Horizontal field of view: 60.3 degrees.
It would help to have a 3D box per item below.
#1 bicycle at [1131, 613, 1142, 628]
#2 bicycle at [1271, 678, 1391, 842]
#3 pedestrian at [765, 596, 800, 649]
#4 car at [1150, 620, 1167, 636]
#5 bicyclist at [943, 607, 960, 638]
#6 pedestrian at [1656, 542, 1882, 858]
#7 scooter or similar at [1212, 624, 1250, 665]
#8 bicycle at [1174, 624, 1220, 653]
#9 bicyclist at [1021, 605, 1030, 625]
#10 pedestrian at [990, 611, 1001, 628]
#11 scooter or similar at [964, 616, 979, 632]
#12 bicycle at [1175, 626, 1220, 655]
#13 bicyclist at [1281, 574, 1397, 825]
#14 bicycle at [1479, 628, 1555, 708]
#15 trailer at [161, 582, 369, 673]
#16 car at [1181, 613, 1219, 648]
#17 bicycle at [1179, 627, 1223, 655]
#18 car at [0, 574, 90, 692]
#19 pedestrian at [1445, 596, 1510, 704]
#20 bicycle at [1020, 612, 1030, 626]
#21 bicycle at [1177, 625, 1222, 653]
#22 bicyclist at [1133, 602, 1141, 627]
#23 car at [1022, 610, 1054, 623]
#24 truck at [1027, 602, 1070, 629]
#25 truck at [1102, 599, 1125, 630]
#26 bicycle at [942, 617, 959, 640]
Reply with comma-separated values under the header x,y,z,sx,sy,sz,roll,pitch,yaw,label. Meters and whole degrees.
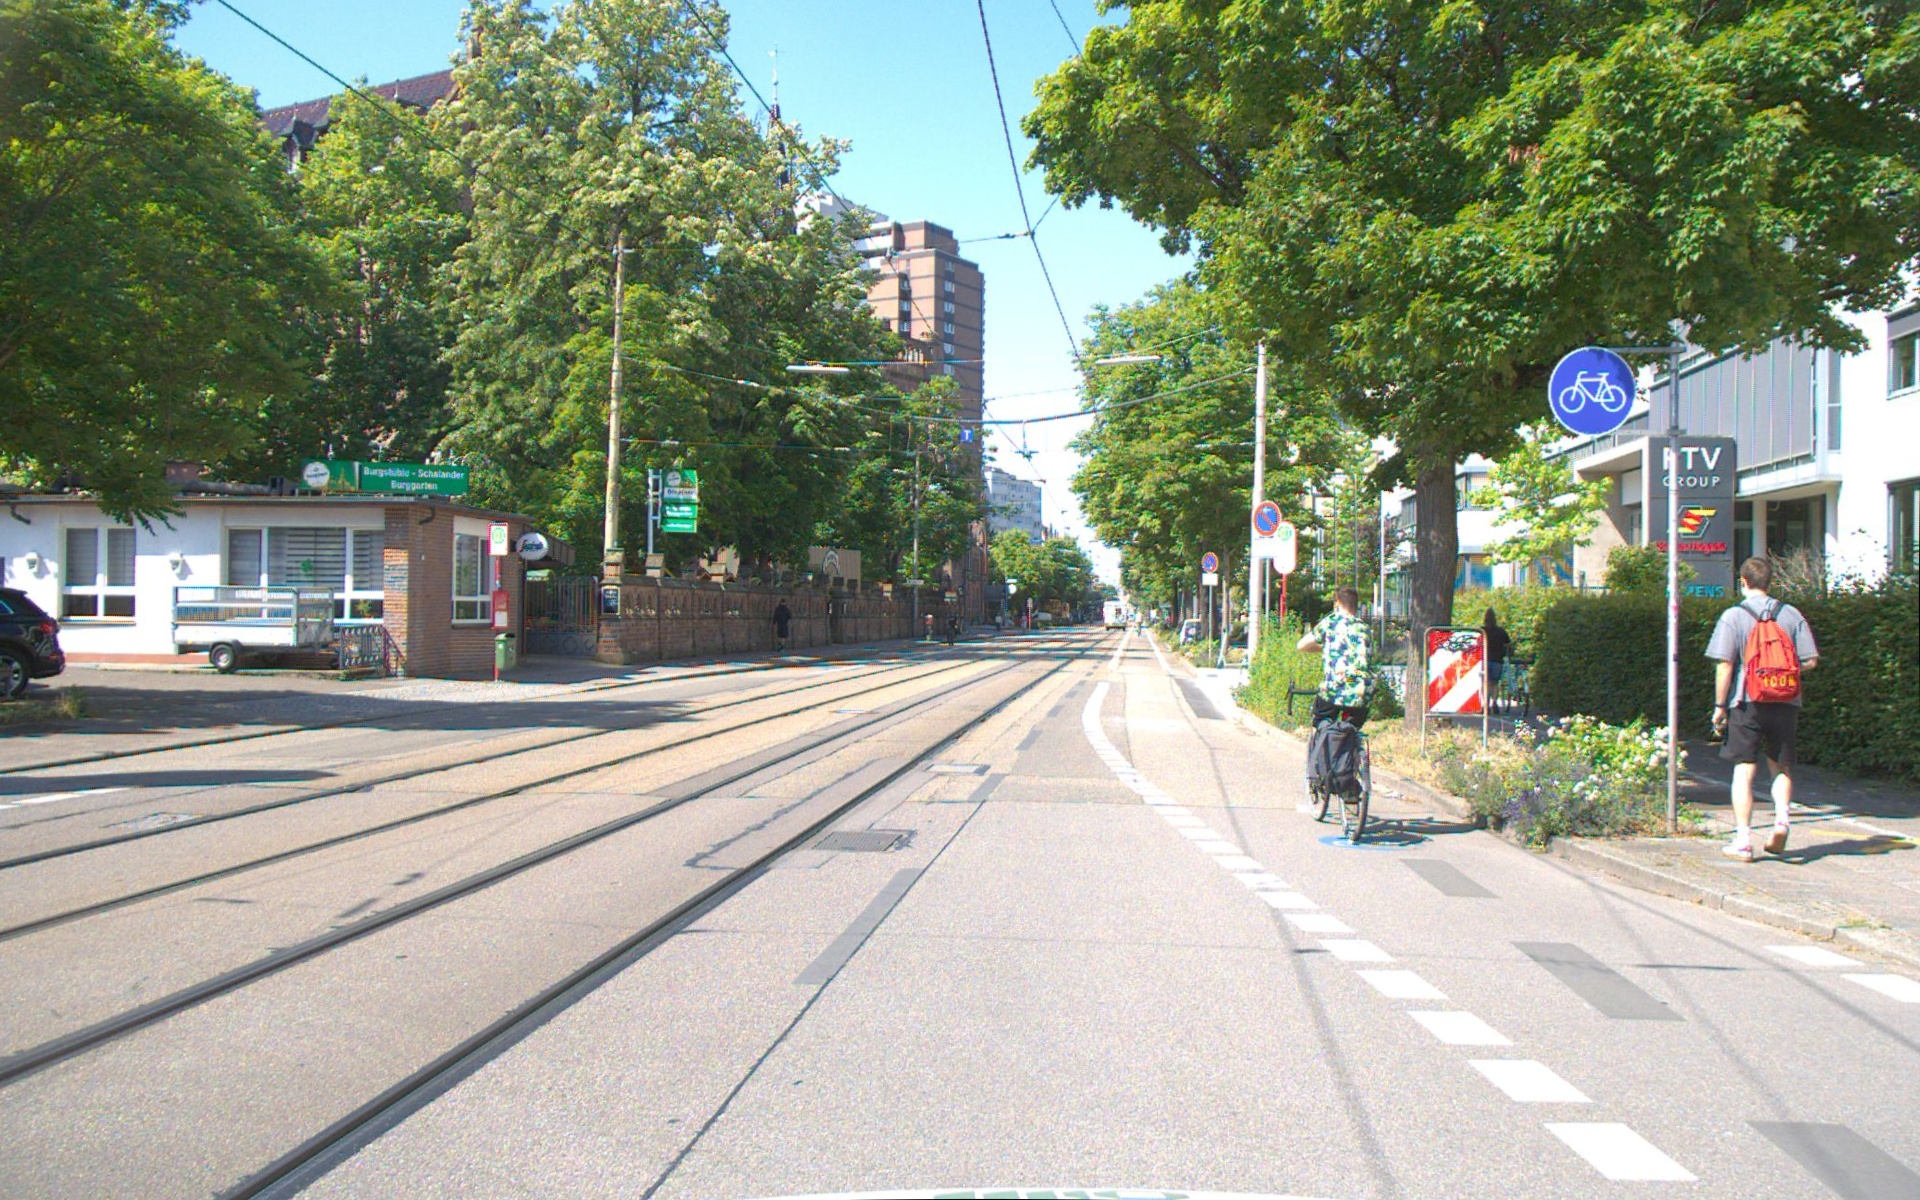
x,y,z,sx,sy,sz,roll,pitch,yaw,label
13.725,1.614,128.397,0.837,1.129,2.141,0,0,5,bicycle
2.701,1.125,12.210,0.595,1.001,2.165,1,0,6,bicycle
-6.309,0.789,58.818,0.955,1.848,1.185,-1,-1,6,pedestrian
18.594,2.586,154.957,1.595,1.498,4.116,0,-1,6,car
-0.430,1.106,81.534,0.724,1.557,0.948,0,-1,6,bicyclist
4.990,0.589,10.274,0.871,1.850,1.073,1,-1,-1,pedestrian
7.988,1.310,48.744,1.102,1.187,0.676,0,-1,8,scooter or similar
9.868,1.598,68.843,1.863,1.190,0.819,0,-1,5,bicycle
5.508,1.252,139.467,0.710,1.728,1.147,0,-1,5,bicyclist
3.155,1.734,146.589,0.865,1.538,1.475,1,-1,-3,pedestrian
0.810,1.724,118.096,0.328,1.149,1.178,-1,-1,45,scooter or similar
9.700,1.655,67.526,1.810,1.152,0.681,0,-1,5,bicycle
2.757,0.699,12.114,0.701,1.754,0.988,1,-1,6,bicyclist
8.443,1.008,25.130,0.622,1.137,2.068,1,-1,5,bicycle
-13.251,0.520,31.640,3.204,1.631,1.724,1,-1,7,trailer
10.534,1.320,72.747,1.595,1.498,3.633,1,0,7,car
9.633,1.641,66.110,1.688,1.105,0.640,0,-1,5,bicycle
-15.129,0.441,23.458,4.617,1.669,1.991,1,-1,-41,car
7.858,0.751,25.160,0.672,1.591,0.988,-1,-1,1,pedestrian
5.462,1.586,139.414,0.648,1.174,2.015,0,0,6,bicycle
9.691,1.577,66.996,1.755,1.105,0.727,0,-1,5,bicycle
13.745,1.129,128.535,0.622,1.904,1.025,0,-1,5,bicyclist
10.592,2.225,225.480,3.935,1.780,1.985,1,-1,-25,car
13.677,2.418,253.837,2.759,3.927,9.986,0,-1,28,truck
15.977,1.512,171.945,2.351,3.163,6.041,1,-1,6,truck
-0.466,1.395,81.499,0.579,1.125,2.055,0,0,6,bicycle
